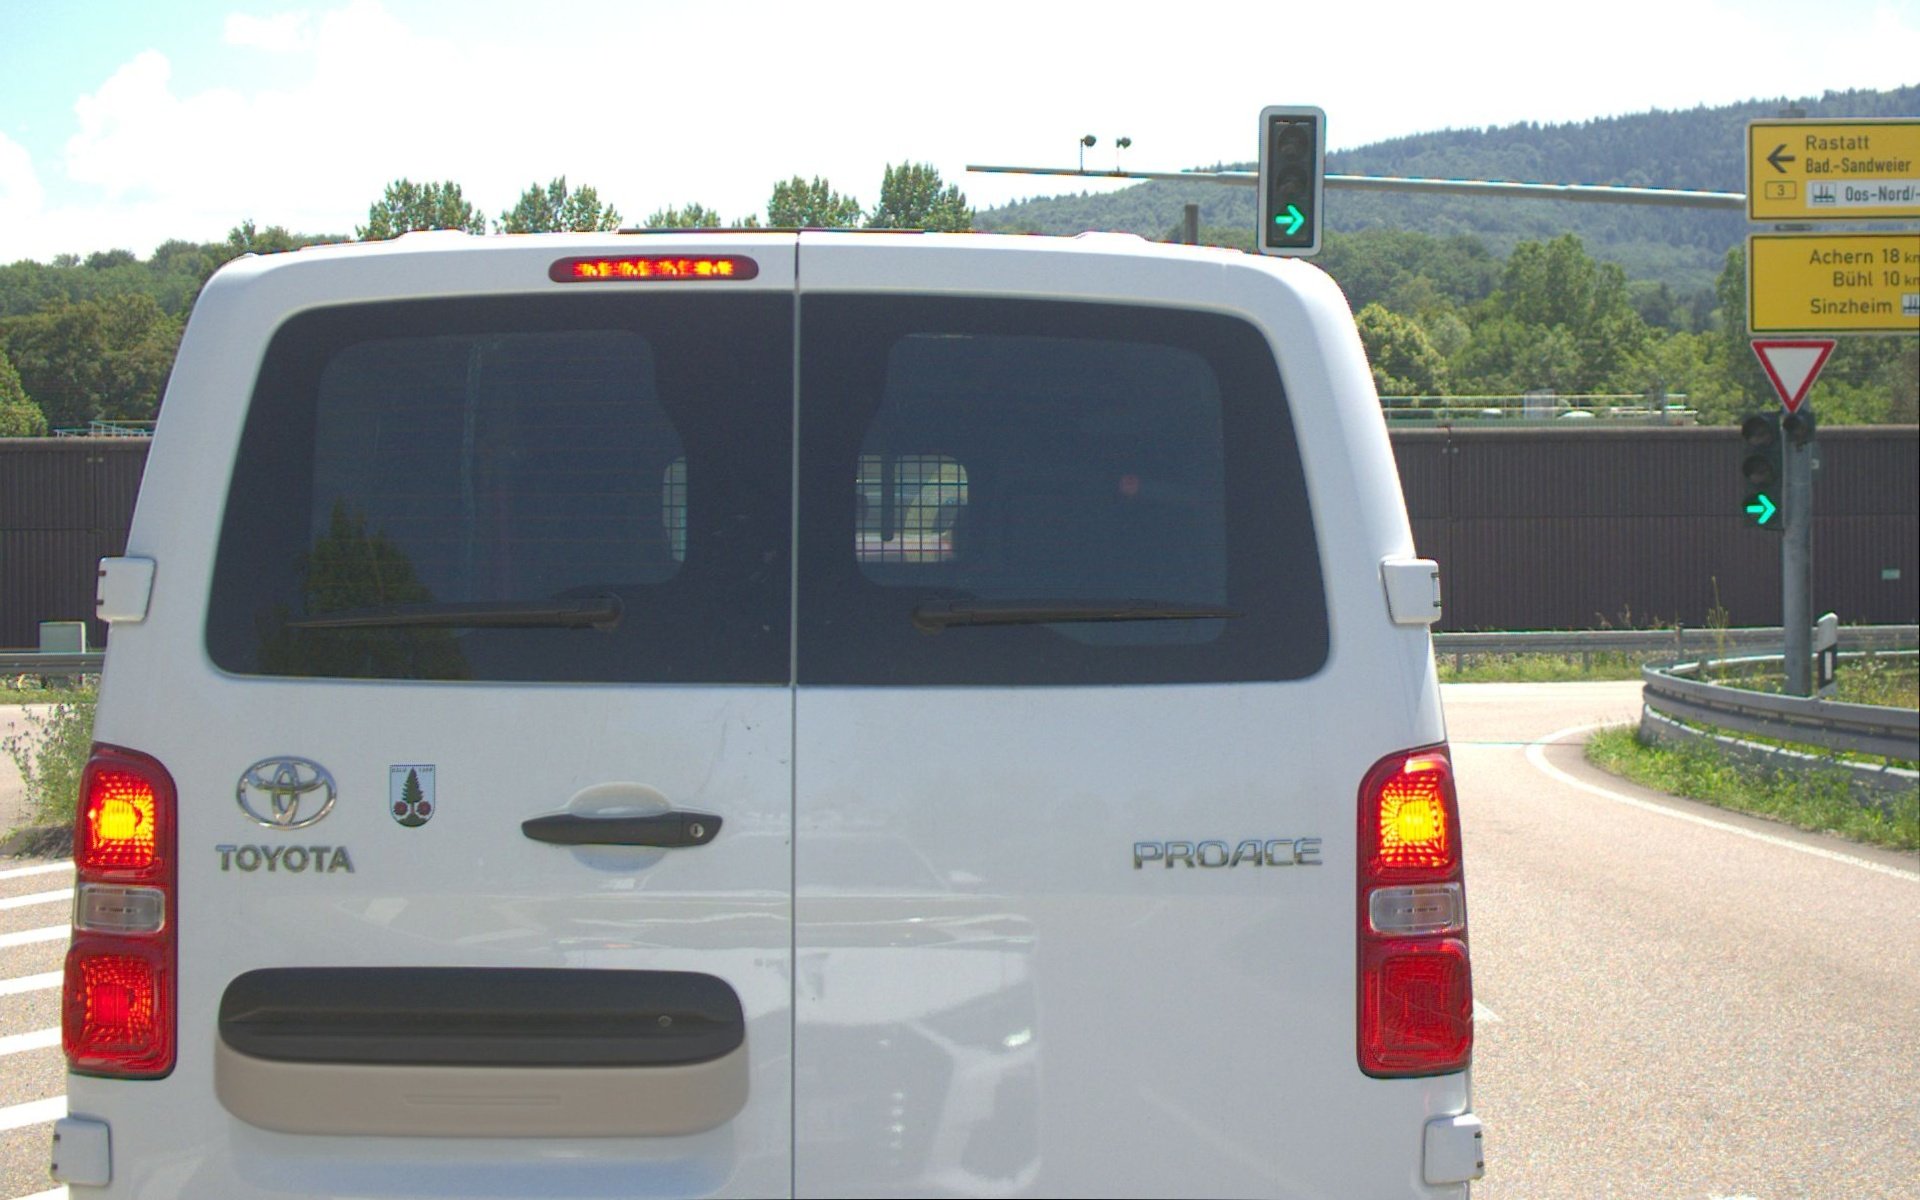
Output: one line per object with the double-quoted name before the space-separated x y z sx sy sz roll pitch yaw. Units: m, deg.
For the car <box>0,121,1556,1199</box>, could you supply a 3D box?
"car" -0.249 0.439 5.949 1.814 2.011 4.000 0 1 -1
